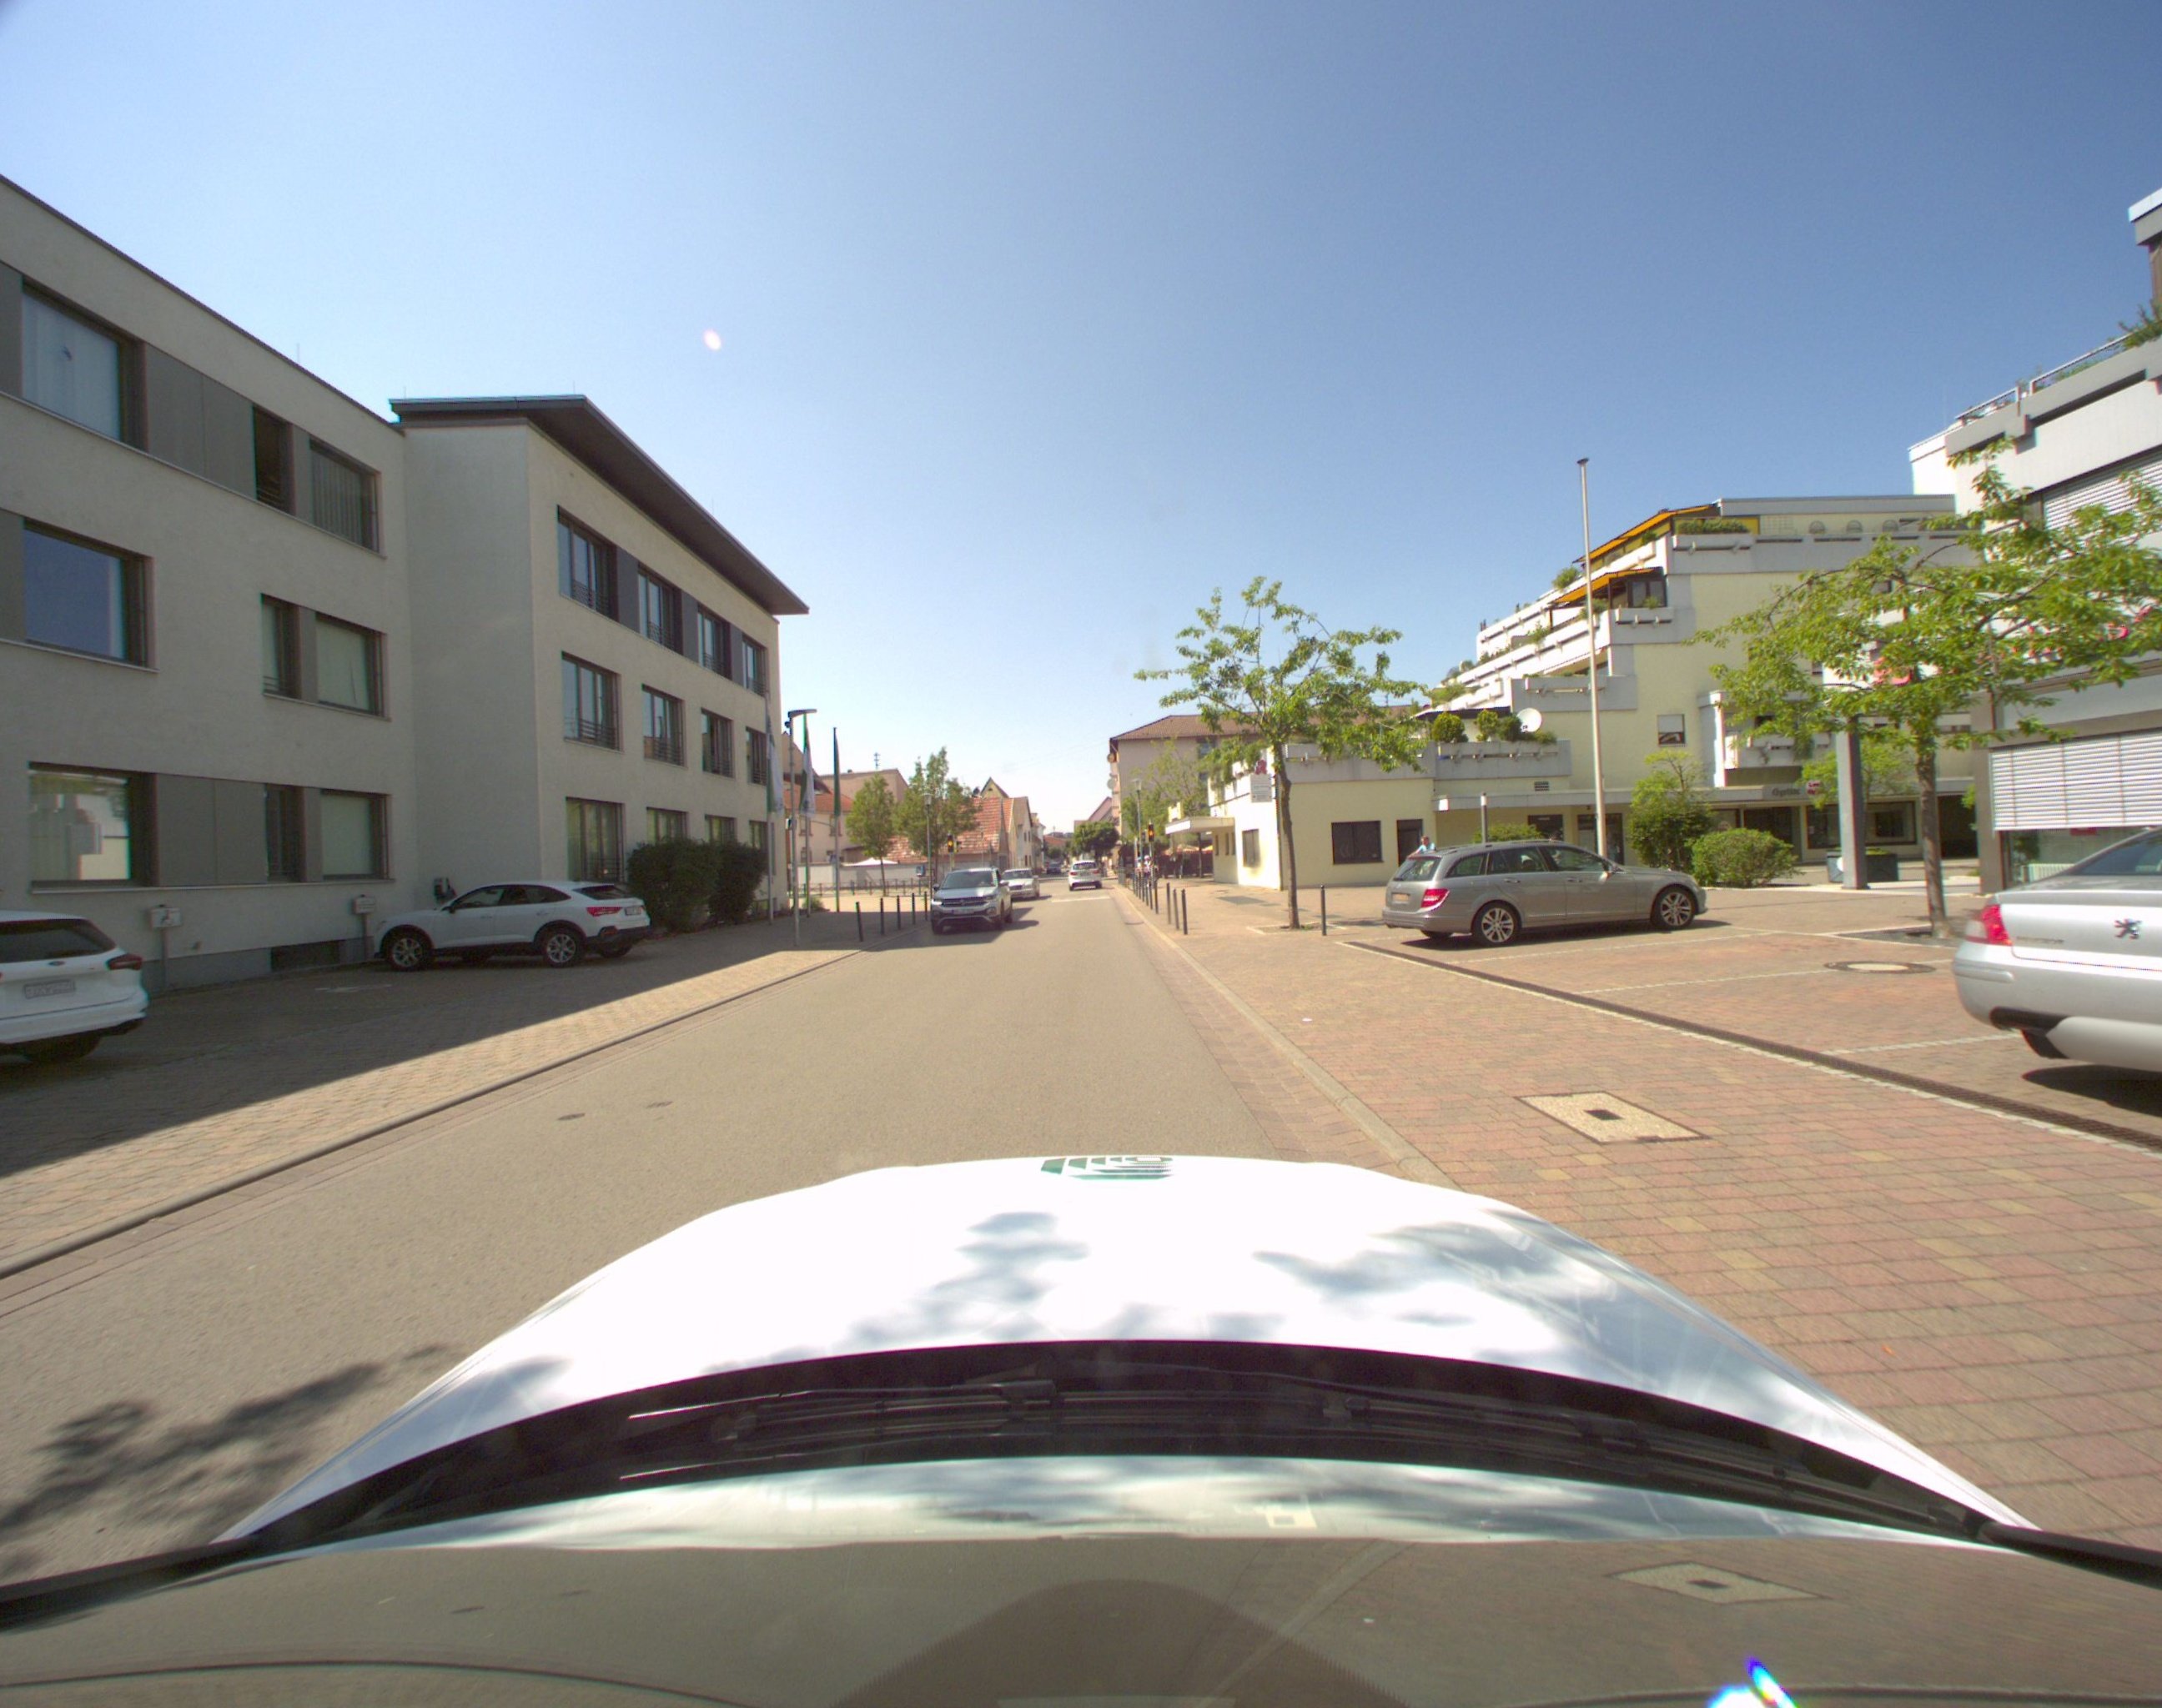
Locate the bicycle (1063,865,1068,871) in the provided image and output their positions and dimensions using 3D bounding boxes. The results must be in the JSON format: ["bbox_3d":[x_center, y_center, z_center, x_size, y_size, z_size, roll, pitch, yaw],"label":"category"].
[{"bbox_3d":[-2.663,2.453,142.466,0.661,1.006,1.899,-3,-1,3],"label":"bicycle"}]

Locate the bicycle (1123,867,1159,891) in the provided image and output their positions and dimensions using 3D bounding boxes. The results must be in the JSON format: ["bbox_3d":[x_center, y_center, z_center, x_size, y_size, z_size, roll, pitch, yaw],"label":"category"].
[{"bbox_3d":[2.822,1.155,38.021,0.667,0.958,1.908,-5,0,38],"label":"bicycle"}]

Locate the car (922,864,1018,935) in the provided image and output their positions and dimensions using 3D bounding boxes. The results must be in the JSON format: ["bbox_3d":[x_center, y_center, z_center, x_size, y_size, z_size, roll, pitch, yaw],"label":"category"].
[{"bbox_3d":[-2.769,1.099,21.161,1.845,1.573,4.000,-3,-1,0],"label":"car"}]

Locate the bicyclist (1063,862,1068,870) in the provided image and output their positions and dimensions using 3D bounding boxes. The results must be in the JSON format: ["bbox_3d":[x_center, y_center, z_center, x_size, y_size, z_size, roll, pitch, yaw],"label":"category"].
[{"bbox_3d":[-2.695,2.093,142.337,0.670,1.483,0.771,-3,-1,3],"label":"bicyclist"}]

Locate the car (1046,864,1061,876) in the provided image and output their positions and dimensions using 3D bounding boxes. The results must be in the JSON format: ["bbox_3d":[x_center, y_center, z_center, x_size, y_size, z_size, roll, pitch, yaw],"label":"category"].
[{"bbox_3d":[-3.693,2.089,109.336,1.707,1.517,3.788,-3,-1,2],"label":"car"}]

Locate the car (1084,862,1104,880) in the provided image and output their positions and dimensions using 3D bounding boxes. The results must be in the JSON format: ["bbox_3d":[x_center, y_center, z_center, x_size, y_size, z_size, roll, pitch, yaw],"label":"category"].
[{"bbox_3d":[1.279,1.626,78.534,1.798,1.501,4.003,-3,0,3],"label":"car"}]

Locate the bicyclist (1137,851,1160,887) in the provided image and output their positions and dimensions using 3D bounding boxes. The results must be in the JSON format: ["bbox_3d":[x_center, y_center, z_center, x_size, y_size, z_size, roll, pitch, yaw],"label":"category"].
[{"bbox_3d":[3.297,0.740,39.648,0.765,1.664,0.663,-4,-1,-39],"label":"bicyclist"}]

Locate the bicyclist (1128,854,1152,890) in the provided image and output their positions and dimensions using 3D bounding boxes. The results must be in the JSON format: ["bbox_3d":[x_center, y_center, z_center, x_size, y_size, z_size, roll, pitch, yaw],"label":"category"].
[{"bbox_3d":[2.753,0.844,37.973,0.662,1.581,0.766,-5,0,37],"label":"bicyclist"}]

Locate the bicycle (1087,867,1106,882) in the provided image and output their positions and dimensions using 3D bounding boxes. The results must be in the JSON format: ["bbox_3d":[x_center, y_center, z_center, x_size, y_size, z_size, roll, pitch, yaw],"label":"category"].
[{"bbox_3d":[1.333,1.744,69.660,0.530,1.193,1.654,-2,-1,-43],"label":"bicycle"}]

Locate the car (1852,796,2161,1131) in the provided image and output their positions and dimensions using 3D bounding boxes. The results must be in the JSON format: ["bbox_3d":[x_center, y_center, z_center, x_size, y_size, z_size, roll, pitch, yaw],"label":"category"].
[{"bbox_3d":[6.914,0.336,4.114,4.530,1.440,1.836,-4,-1,-6],"label":"car"}]

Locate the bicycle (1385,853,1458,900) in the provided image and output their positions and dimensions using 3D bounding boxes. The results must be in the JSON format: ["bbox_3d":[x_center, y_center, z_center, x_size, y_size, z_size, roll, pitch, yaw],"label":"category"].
[{"bbox_3d":[9.092,0.595,21.726,1.900,1.109,0.670,-4,0,-26],"label":"bicycle"}]

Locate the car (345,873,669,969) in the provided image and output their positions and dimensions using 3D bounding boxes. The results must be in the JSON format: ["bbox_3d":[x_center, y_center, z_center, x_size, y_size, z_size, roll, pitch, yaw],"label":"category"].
[{"bbox_3d":[-10.579,1.193,15.319,4.494,1.554,2.146,-1,-1,-2],"label":"car"}]

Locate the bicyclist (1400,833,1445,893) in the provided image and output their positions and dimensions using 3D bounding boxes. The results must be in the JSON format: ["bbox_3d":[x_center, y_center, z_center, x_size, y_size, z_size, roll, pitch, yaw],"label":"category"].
[{"bbox_3d":[9.118,0.241,21.752,0.763,1.526,0.665,-4,0,-26],"label":"bicyclist"}]

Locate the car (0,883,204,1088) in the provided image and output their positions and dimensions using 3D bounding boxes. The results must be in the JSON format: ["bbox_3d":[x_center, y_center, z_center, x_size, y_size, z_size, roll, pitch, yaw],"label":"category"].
[{"bbox_3d":[-10.750,1.134,6.888,4.489,1.554,1.935,-2,0,0],"label":"car"}]

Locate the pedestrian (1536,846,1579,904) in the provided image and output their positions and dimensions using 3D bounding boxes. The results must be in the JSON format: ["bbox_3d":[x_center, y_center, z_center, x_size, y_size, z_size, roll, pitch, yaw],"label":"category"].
[{"bbox_3d":[12.771,0.556,21.856,0.792,1.521,0.709,-2,-1,15],"label":"pedestrian"}]

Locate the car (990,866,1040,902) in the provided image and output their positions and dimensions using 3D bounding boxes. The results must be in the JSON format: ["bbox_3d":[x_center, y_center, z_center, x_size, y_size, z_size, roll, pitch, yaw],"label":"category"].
[{"bbox_3d":[-2.967,1.325,37.384,1.874,1.464,4.435,-3,-1,0],"label":"car"}]

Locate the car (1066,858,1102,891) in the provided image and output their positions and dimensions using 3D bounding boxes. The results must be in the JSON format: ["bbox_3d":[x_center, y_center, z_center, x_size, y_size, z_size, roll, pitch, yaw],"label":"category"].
[{"bbox_3d":[0.197,1.124,45.784,1.827,1.652,4.001,-3,-1,1],"label":"car"}]

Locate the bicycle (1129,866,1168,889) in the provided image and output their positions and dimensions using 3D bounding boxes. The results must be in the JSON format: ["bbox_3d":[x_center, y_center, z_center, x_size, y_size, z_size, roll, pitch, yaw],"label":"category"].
[{"bbox_3d":[3.298,1.157,39.626,1.906,0.958,0.668,-4,-1,-40],"label":"bicycle"}]

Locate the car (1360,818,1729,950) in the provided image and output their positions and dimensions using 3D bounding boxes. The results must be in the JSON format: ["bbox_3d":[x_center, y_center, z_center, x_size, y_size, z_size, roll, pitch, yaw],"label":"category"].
[{"bbox_3d":[6.898,0.424,12.411,4.570,1.512,1.912,-4,-1,-6],"label":"car"}]
